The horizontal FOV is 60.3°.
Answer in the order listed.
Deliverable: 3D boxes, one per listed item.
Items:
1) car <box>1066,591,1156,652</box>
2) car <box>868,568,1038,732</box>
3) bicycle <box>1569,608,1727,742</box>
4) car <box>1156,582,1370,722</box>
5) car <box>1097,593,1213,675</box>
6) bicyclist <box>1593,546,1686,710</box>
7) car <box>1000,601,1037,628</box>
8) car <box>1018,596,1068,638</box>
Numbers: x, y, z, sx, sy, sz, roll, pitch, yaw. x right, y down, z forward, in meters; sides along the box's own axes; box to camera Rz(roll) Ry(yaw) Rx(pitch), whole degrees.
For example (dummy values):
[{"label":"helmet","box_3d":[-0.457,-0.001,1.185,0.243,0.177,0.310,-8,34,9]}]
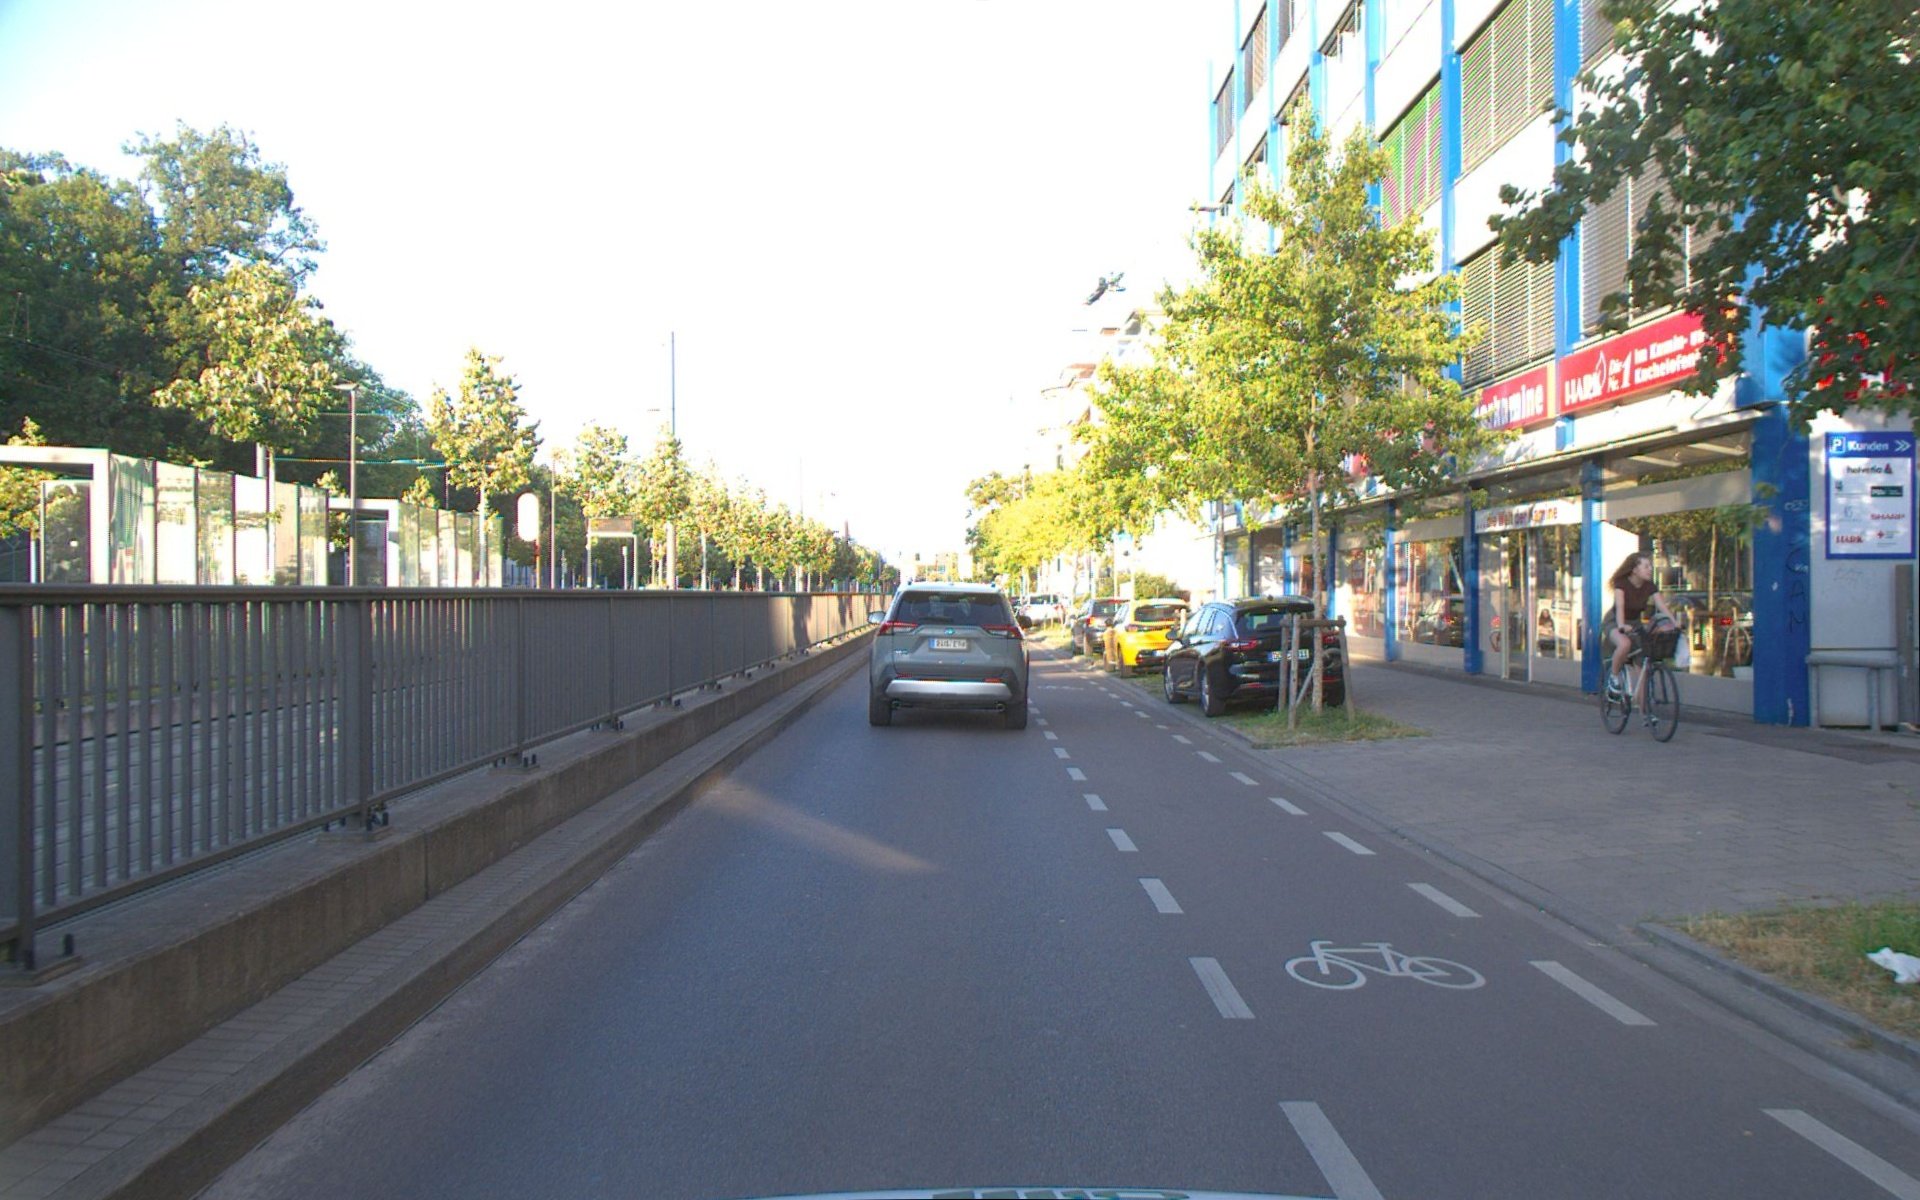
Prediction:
[{"label":"car","box_3d":[3.864,0.537,42.994,1.782,1.480,4.126,-1,0,-2]},{"label":"car","box_3d":[-0.149,0.552,20.194,1.820,1.744,4.190,2,0,-2]},{"label":"bicycle","box_3d":[6.463,0.669,15.650,0.543,1.149,1.973,-3,0,-2]},{"label":"car","box_3d":[3.991,0.632,22.625,1.783,1.594,4.808,-4,0,-2]},{"label":"car","box_3d":[3.787,0.626,32.740,1.649,1.480,4.128,-1,0,-2]},{"label":"bicyclist","box_3d":[6.436,0.265,15.686,0.547,1.501,0.622,-2,0,-2]},{"label":"car","box_3d":[3.572,0.877,101.655,1.757,1.496,4.442,-3,0,-3]},{"label":"car","box_3d":[3.599,0.714,72.229,1.817,1.736,4.252,0,0,-2]}]
